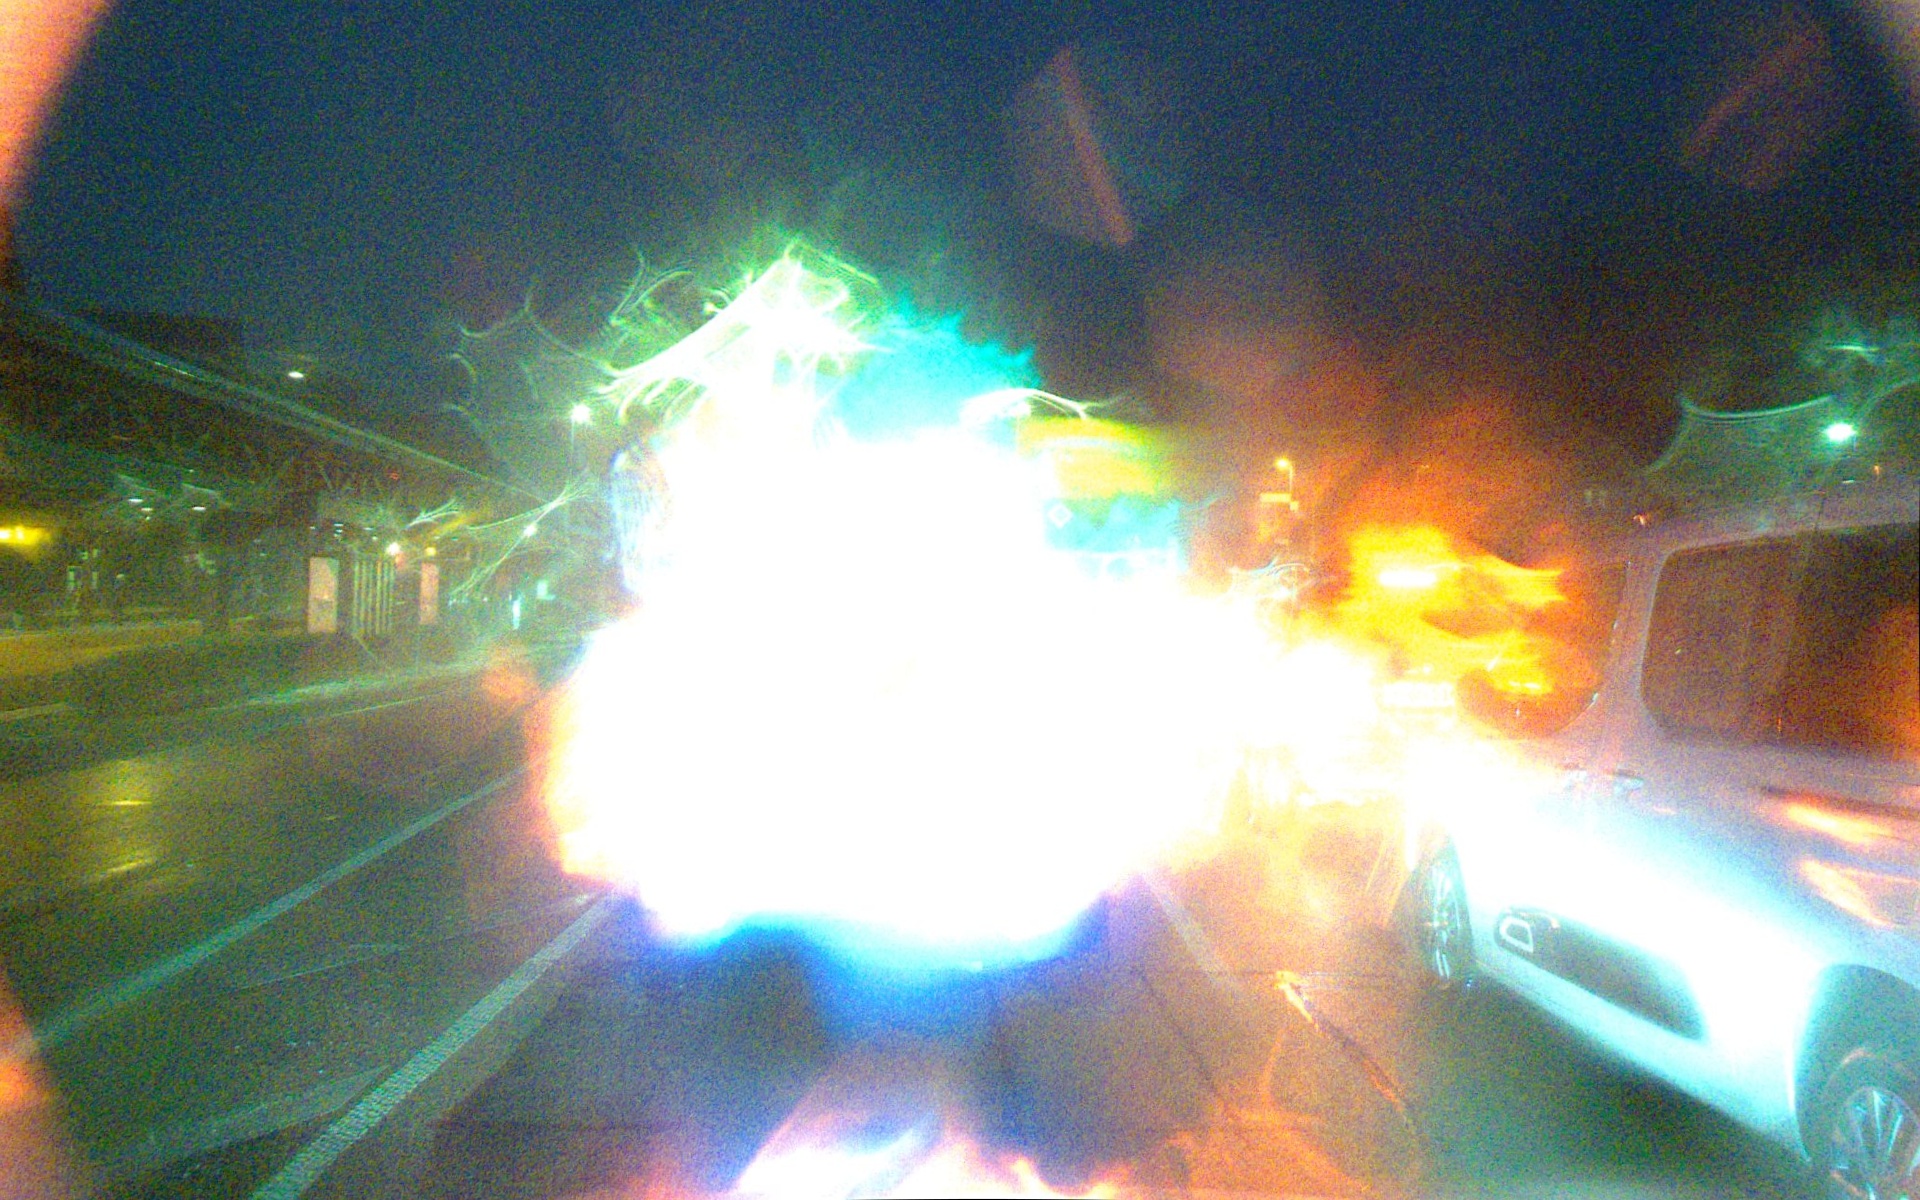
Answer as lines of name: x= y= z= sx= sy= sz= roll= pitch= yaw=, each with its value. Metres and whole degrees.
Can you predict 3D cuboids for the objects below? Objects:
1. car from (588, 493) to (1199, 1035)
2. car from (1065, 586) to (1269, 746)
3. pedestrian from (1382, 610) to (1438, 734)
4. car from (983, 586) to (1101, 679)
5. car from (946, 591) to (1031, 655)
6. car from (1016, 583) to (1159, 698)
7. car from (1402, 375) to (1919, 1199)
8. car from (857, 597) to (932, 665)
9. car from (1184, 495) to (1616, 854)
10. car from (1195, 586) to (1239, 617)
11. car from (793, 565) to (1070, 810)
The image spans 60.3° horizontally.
car: x=-0.274 y=0.553 z=7.659 sx=1.974 sy=1.747 sz=4.450 roll=1 pitch=0 yaw=-2
car: x=2.449 y=0.749 z=20.528 sx=1.953 sy=1.748 sz=3.999 roll=1 pitch=0 yaw=-1
pedestrian: x=6.427 y=1.021 z=23.652 sx=0.610 sy=1.731 sz=0.540 roll=1 pitch=-1 yaw=-3
car: x=1.651 y=0.657 z=34.621 sx=1.954 sy=1.804 sz=3.996 roll=1 pitch=0 yaw=-5
car: x=0.703 y=0.582 z=43.688 sx=1.821 sy=1.571 sz=3.926 roll=1 pitch=0 yaw=-5
car: x=1.995 y=0.619 z=27.044 sx=1.953 sy=1.699 sz=3.999 roll=1 pitch=0 yaw=-1
car: x=2.740 y=0.535 z=4.538 sx=1.814 sy=1.897 sz=4.339 roll=1 pitch=0 yaw=-1
car: x=-1.946 y=0.865 z=48.088 sx=1.955 sy=1.856 sz=3.995 roll=1 pitch=0 yaw=-6
car: x=2.871 y=0.449 z=11.752 sx=1.929 sy=2.082 sz=3.999 roll=1 pitch=0 yaw=-1
car: x=14.605 y=0.107 z=94.261 sx=1.827 sy=1.675 sz=3.962 roll=-2 pitch=0 yaw=0
car: x=-0.230 y=0.636 z=13.825 sx=1.953 sy=1.713 sz=3.999 roll=1 pitch=0 yaw=-1
